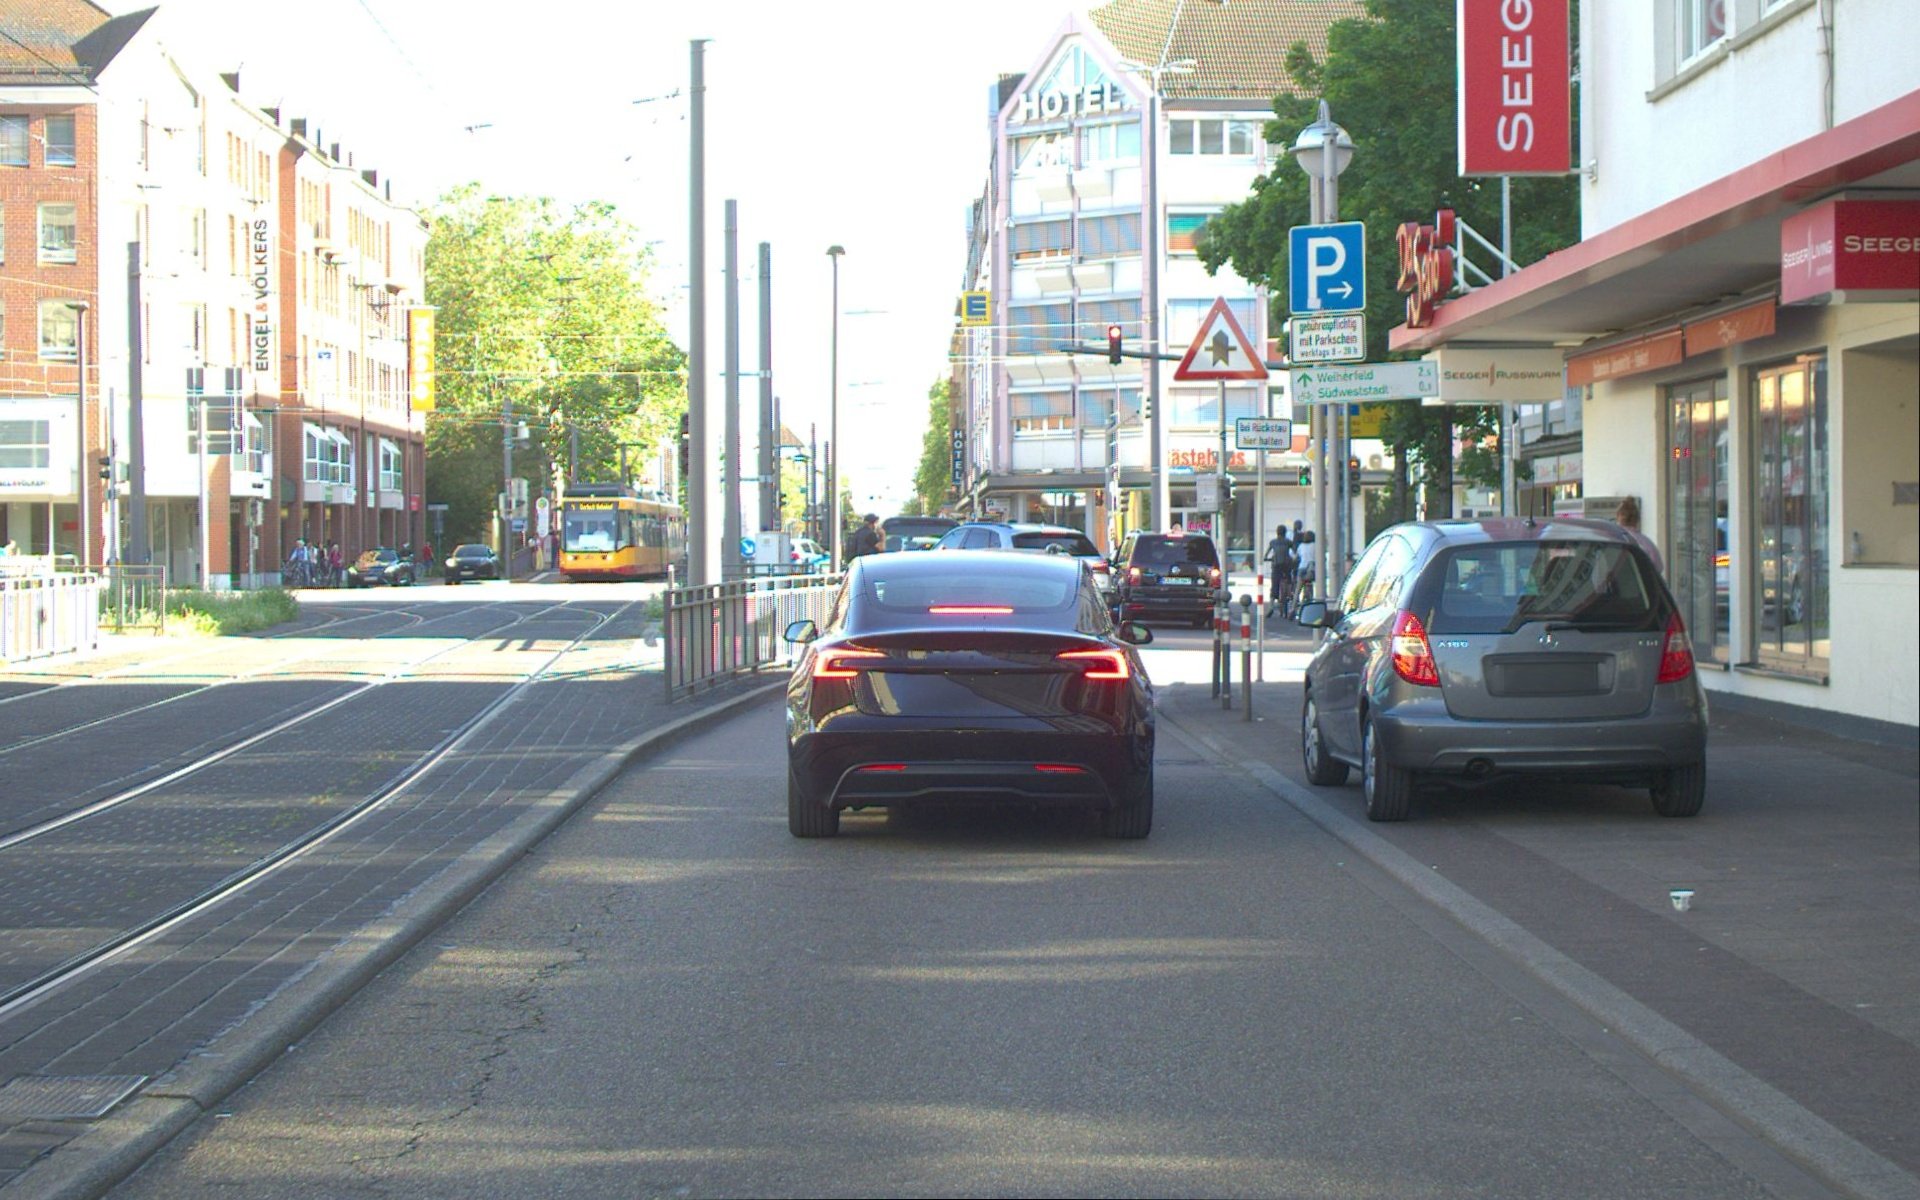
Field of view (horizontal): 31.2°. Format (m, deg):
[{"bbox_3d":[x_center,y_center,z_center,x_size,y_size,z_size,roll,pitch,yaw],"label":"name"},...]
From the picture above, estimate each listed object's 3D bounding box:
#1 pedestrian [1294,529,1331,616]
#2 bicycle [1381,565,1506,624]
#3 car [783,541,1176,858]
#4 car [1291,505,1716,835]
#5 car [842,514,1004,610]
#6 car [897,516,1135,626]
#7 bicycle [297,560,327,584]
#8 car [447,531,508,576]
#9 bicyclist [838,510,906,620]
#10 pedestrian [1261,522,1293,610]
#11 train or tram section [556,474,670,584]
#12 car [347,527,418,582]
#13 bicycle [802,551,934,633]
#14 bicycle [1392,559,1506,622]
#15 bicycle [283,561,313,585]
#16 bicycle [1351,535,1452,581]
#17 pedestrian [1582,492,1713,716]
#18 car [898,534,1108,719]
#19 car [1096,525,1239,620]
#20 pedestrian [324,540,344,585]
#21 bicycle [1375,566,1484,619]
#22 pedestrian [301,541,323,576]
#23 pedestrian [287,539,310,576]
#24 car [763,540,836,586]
[{"bbox_3d":[6.593,-0.522,64.320,0.629,1.608,0.643,1,1,3],"label":"pedestrian"},{"bbox_3d":[8.221,-0.090,58.535,2.051,0.979,0.483,0,1,1],"label":"bicycle"},{"bbox_3d":[0.035,0.451,18.297,1.849,1.479,3.787,1,1,-2],"label":"car"},{"bbox_3d":[2.922,0.310,19.190,1.745,1.626,3.649,-1,1,0],"label":"car"},{"bbox_3d":[-0.669,-0.650,58.102,1.824,1.514,4.219,2,1,-13],"label":"car"},{"bbox_3d":[0.775,-0.450,50.675,1.783,1.514,4.219,1,1,-25],"label":"car"},{"bbox_3d":[-23.971,-1.032,127.199,0.702,0.852,2.053,-1,1,-1],"label":"bicycle"},{"bbox_3d":[-18.583,-1.784,132.436,1.751,1.645,4.000,2,1,0],"label":"car"},{"bbox_3d":[-1.226,-0.485,47.713,0.836,1.494,0.560,2,1,-8],"label":"bicyclist"},{"bbox_3d":[6.142,-0.660,66.644,0.562,1.677,0.750,1,1,5],"label":"pedestrian"},{"bbox_3d":[-12.601,-2.546,125.980,2.674,3.703,14.193,2,1,0],"label":"train or tram section"},{"bbox_3d":[-21.674,-1.719,129.210,1.993,2.007,4.000,0,1,0],"label":"car"},{"bbox_3d":[-1.278,-0.112,47.707,1.727,1.084,0.678,2,1,-8],"label":"bicycle"},{"bbox_3d":[8.615,-0.167,60.595,1.924,1.093,0.555,0,1,1],"label":"bicycle"},{"bbox_3d":[-23.963,-0.986,124.422,0.702,0.852,2.053,-1,1,-1],"label":"bicycle"},{"bbox_3d":[8.724,-0.826,67.948,1.924,0.887,0.526,0,1,1],"label":"bicycle"},{"bbox_3d":[5.308,0.025,26.517,0.818,1.677,0.714,2,1,23],"label":"pedestrian"},{"bbox_3d":[0.348,0.172,29.715,1.653,1.413,4.000,1,2,0],"label":"car"},{"bbox_3d":[3.490,-0.485,58.420,1.824,1.514,3.650,2,1,-6],"label":"car"},{"bbox_3d":[-23.872,-1.432,131.089,0.711,1.661,0.564,2,1,-9],"label":"pedestrian"},{"bbox_3d":[8.664,-0.142,63.484,1.924,0.947,0.526,0,1,1],"label":"bicycle"},{"bbox_3d":[-23.969,-1.531,127.163,0.696,1.303,0.564,-1,1,-1],"label":"pedestrian"},{"bbox_3d":[-23.948,-1.555,124.461,0.711,1.337,0.666,0,1,0],"label":"pedestrian"},{"bbox_3d":[-5.188,-1.192,111.426,1.994,1.415,4.000,2,1,2],"label":"car"}]
